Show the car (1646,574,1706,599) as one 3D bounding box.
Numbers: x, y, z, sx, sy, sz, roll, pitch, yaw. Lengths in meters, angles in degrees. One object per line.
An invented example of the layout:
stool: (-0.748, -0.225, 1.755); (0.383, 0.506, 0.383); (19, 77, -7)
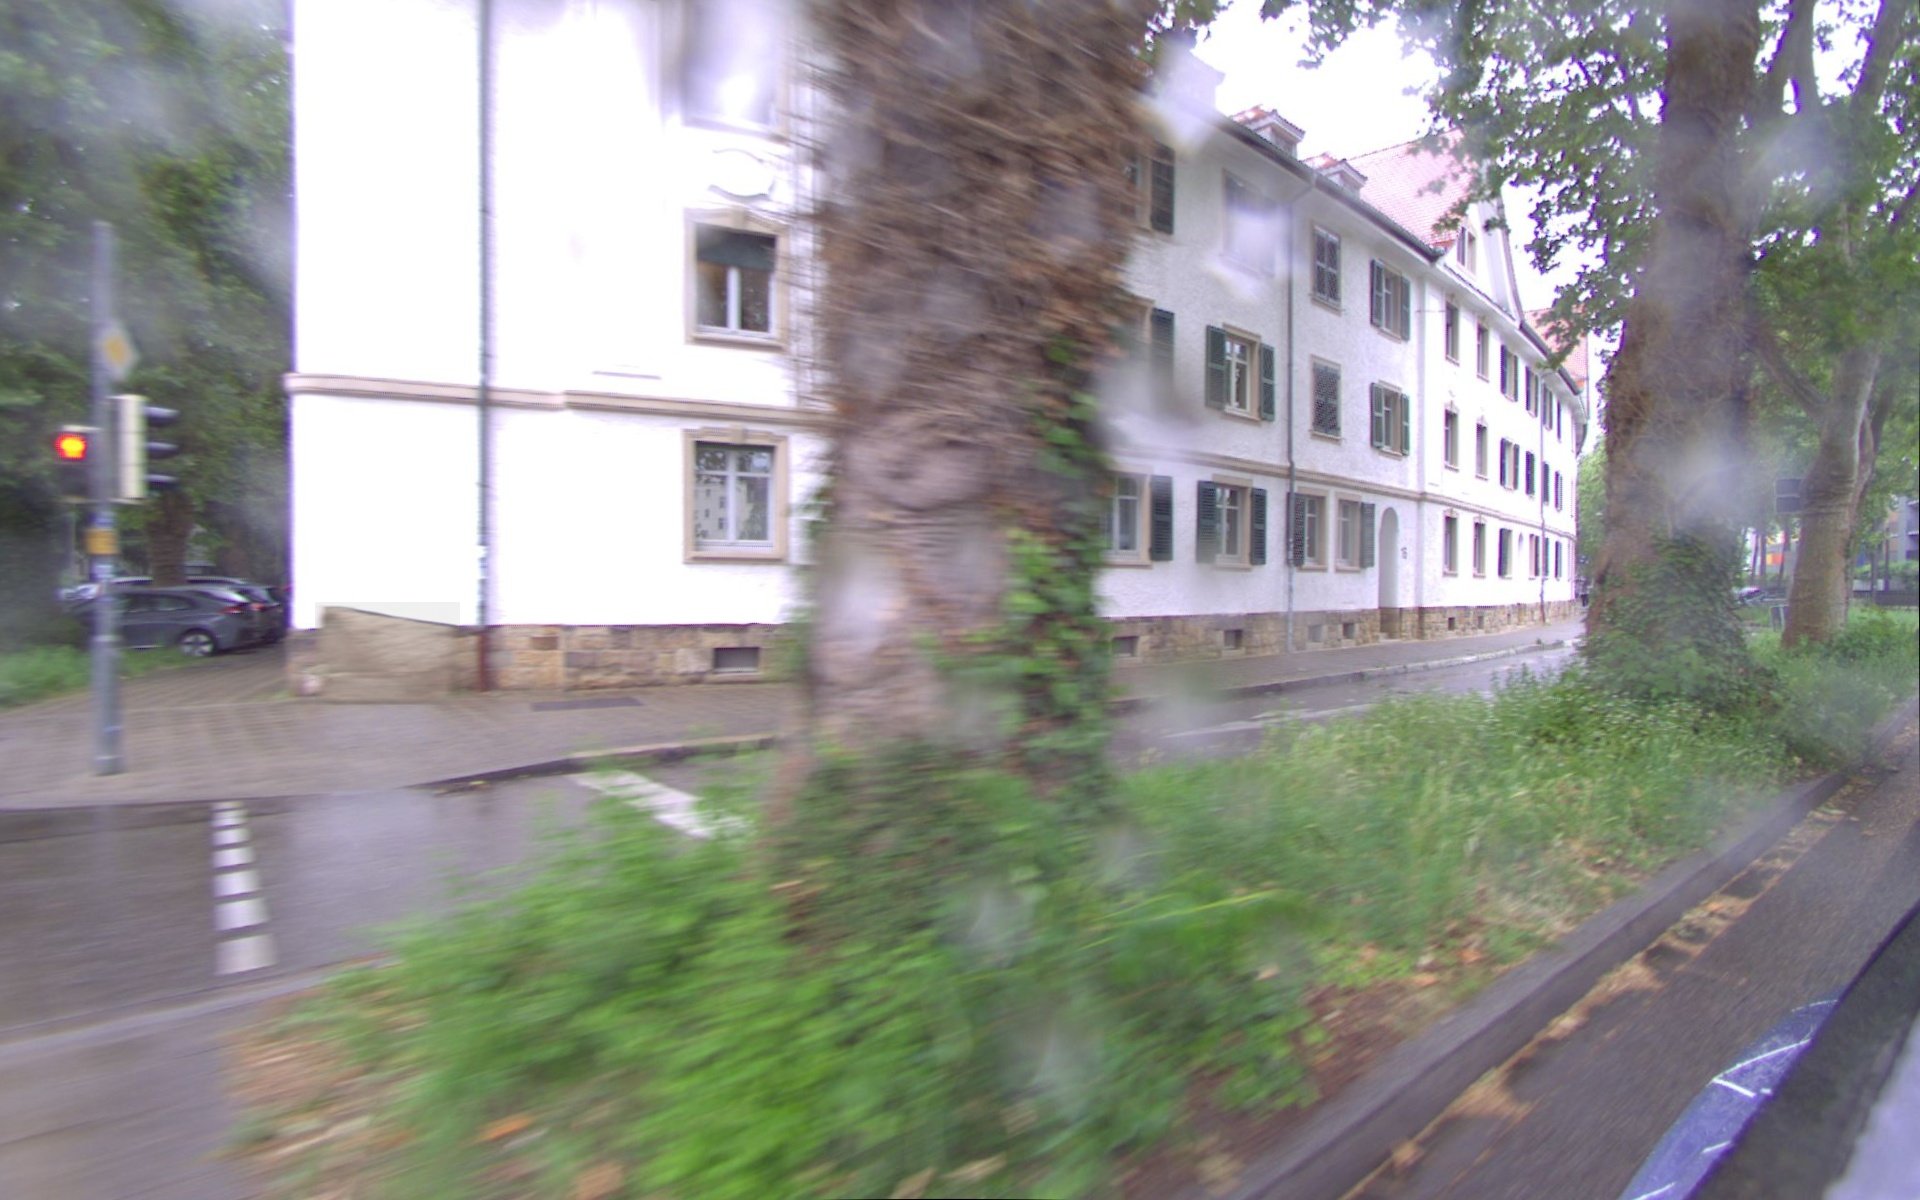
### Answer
car: (59.622, -1.113, 84.363); (3.969, 2.039, 1.978); (1, 1, 32)

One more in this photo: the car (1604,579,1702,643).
car: (18.738, 0.224, 27.284); (1.824, 1.544, 3.943); (1, 2, 40)

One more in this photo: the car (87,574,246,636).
car: (-21.927, 0.089, 28.123); (3.196, 1.628, 1.637); (-1, 1, -28)

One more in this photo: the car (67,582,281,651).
car: (-17.753, 0.332, 23.069); (3.629, 1.425, 1.485); (-1, 1, -28)

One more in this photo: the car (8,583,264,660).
car: (-16.680, 0.379, 20.737); (3.740, 1.400, 1.754); (-1, 1, -27)

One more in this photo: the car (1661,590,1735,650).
car: (29.266, 0.729, 40.244); (1.987, 2.037, 3.953); (6, 4, 33)

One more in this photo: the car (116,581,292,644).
car: (-18.834, 0.257, 25.387); (3.308, 1.455, 1.617); (-1, 1, -28)
